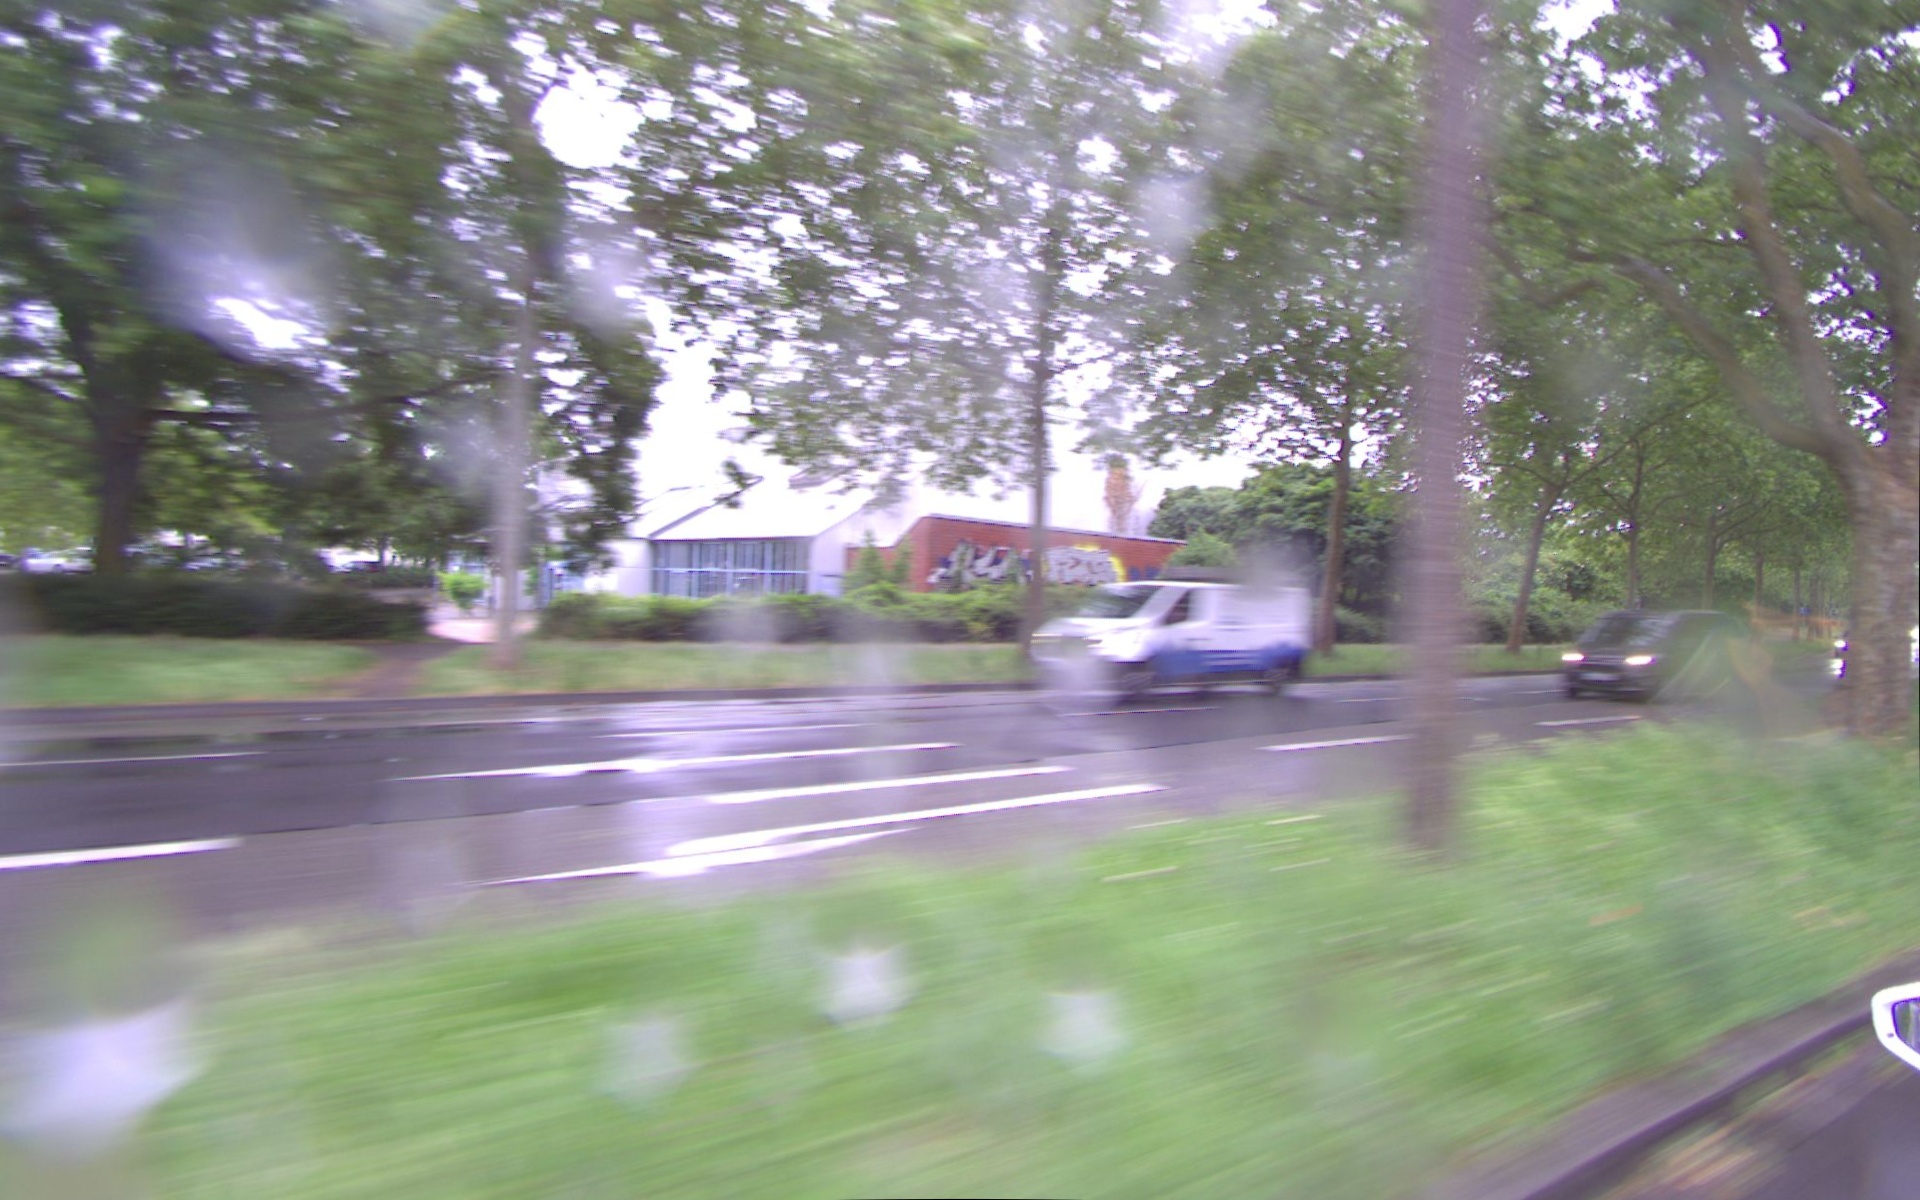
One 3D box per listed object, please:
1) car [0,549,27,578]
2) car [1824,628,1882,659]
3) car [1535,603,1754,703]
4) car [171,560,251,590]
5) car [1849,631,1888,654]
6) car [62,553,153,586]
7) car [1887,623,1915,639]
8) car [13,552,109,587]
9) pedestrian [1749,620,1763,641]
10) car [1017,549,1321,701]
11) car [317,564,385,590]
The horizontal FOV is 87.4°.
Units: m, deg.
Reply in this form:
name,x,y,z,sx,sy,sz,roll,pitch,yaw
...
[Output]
name,x,y,z,sx,sy,sz,roll,pitch,yaw
car,-66.386,-2.570,68.200,4.408,1.927,2.001,3,1,6
car,49.459,2.386,55.624,4.332,1.582,1.729,2,0,-40
car,13.915,1.024,20.337,4.904,1.759,2.017,2,0,-35
car,-54.046,-1.774,72.487,4.407,1.927,2.114,3,1,9
car,61.934,2.894,68.479,3.817,1.479,1.726,2,0,-45
car,-55.800,-1.969,65.807,4.408,1.927,2.001,3,1,6
car,92.151,3.039,98.396,1.722,1.496,4.390,2,0,40
car,-56.633,-1.898,63.311,4.408,1.927,2.001,3,1,6
pedestrian,66.090,2.500,83.381,0.821,1.696,0.895,2,0,42
car,3.725,0.421,17.315,5.383,2.256,2.015,2,0,-37
car,-49.889,-1.869,82.336,4.408,1.927,2.001,3,1,6
